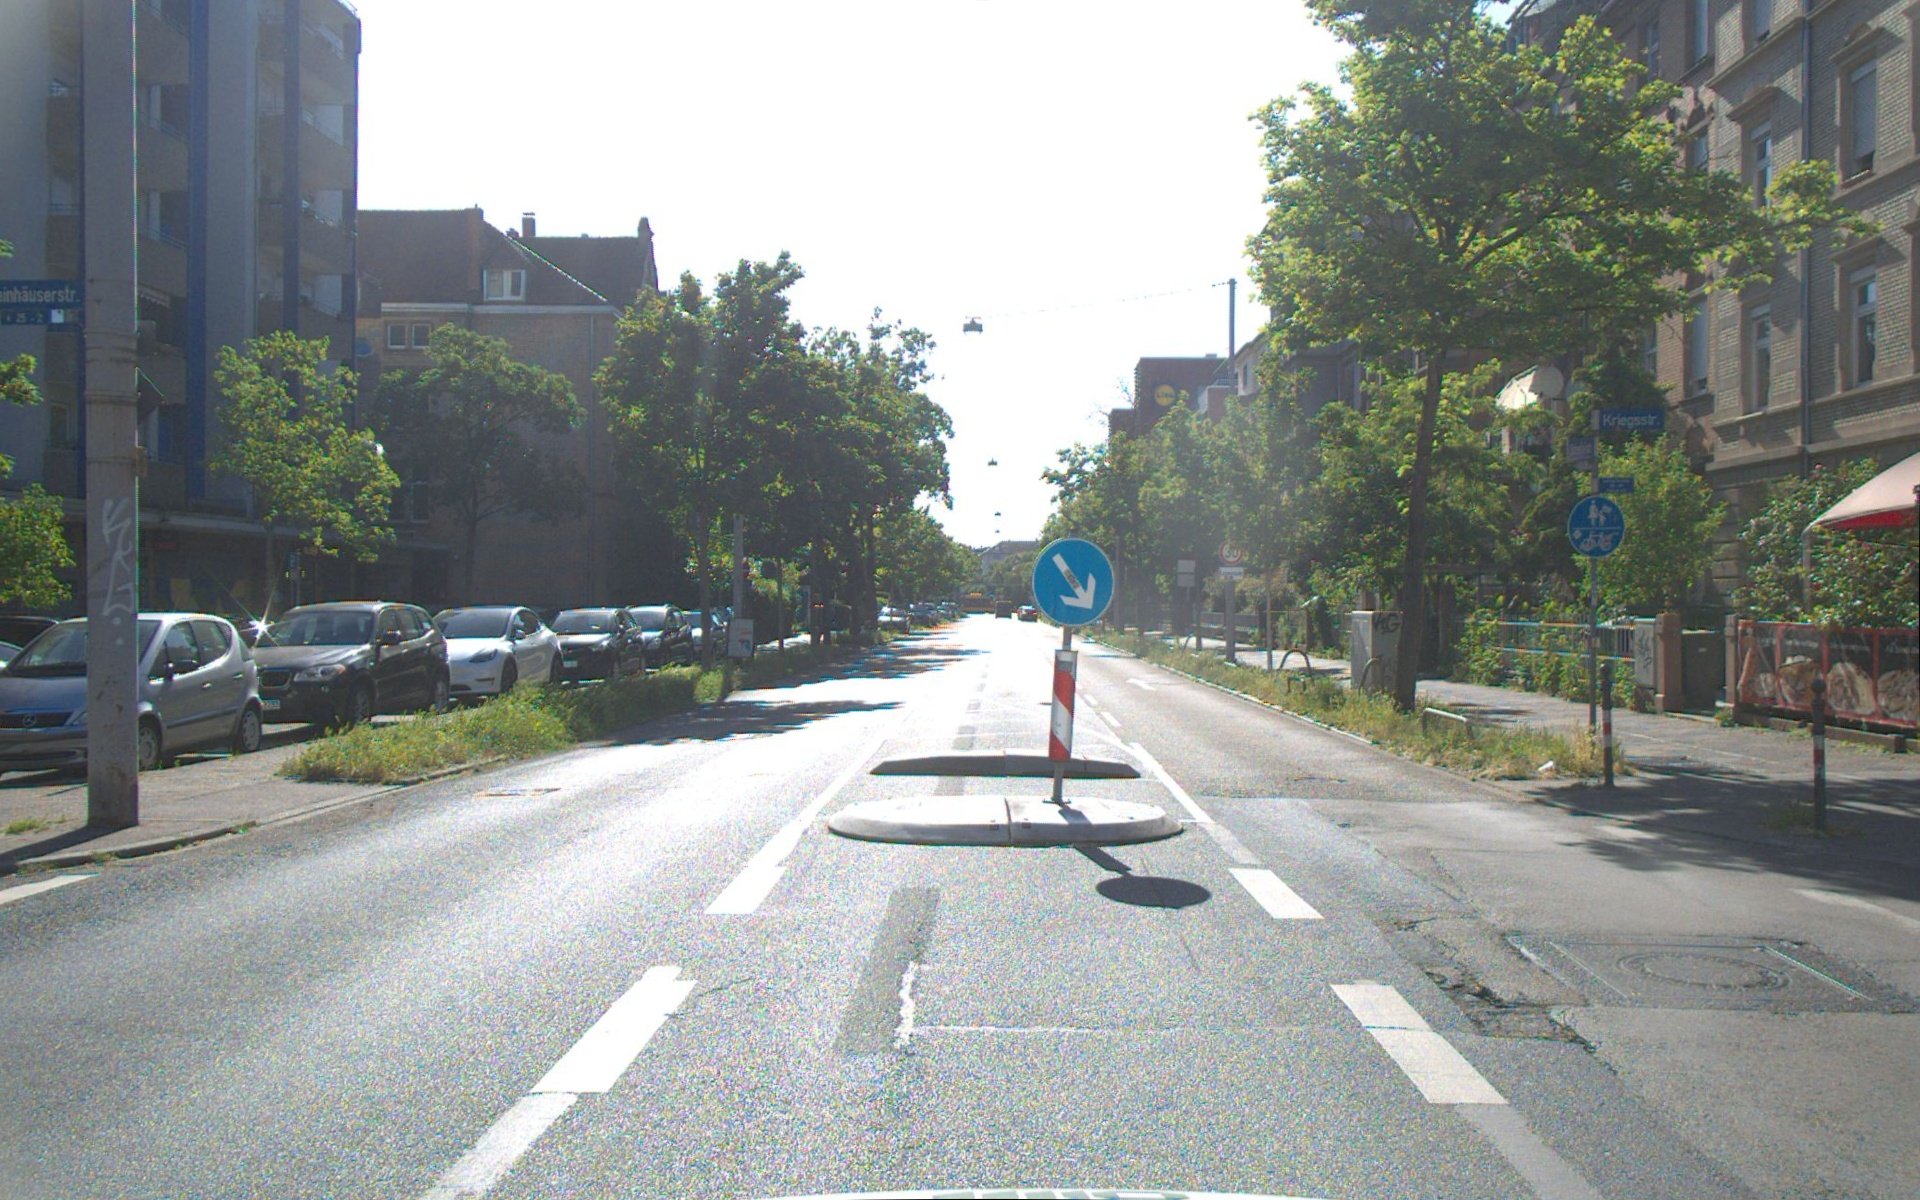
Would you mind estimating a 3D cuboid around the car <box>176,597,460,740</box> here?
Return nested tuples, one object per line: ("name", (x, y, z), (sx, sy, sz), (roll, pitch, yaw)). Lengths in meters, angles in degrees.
("car", (-8.250, 0.812, 21.740), (1.829, 1.656, 4.505), (-1, 0, 2))

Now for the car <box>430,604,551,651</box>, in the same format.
("car", (-16.848, 0.961, 59.484), (3.907, 1.658, 1.687), (0, 0, -2))

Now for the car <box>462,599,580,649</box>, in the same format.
("car", (-16.306, 0.874, 61.547), (3.906, 1.800, 1.885), (0, 0, -2))

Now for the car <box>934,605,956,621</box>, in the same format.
("car", (-1.568, 1.351, 172.784), (1.952, 1.725, 4.002), (-1, 0, 3))

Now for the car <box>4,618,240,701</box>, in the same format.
("car", (-17.208, 1.194, 34.113), (3.907, 1.635, 1.841), (0, 0, -2))

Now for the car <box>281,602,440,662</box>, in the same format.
("car", (-17.034, 0.905, 47.084), (3.907, 1.658, 1.687), (0, 0, -2))

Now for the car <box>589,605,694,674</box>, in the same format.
("car", (-7.754, 0.936, 40.615), (1.715, 1.580, 4.000), (-1, 0, 1))

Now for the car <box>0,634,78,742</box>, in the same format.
("car", (-13.918, 1.215, 21.892), (1.851, 1.422, 4.531), (-1, 0, 3))

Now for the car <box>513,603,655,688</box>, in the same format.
("car", (-7.786, 0.908, 34.618), (1.824, 1.615, 4.002), (-1, 0, 3))

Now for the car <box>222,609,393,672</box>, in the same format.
("car", (-17.492, 1.074, 44.467), (3.907, 1.658, 1.687), (0, 0, -2))

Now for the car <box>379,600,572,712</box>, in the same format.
("car", (-8.149, 0.886, 28.272), (1.849, 1.691, 4.531), (-2, 0, 1))

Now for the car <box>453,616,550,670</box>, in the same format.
("car", (-13.456, 1.228, 48.764), (1.651, 1.495, 4.001), (0, 0, 1))

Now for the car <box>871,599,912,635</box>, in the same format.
("car", (-3.946, 0.954, 96.140), (1.952, 2.049, 4.207), (-1, 0, 4))

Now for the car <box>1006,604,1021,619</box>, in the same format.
("car", (6.204, 1.334, 192.713), (1.721, 1.815, 4.001), (0, 0, 2))

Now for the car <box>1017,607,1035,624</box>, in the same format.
("car", (7.216, 1.686, 180.538), (1.910, 1.738, 4.001), (0, 0, 2))

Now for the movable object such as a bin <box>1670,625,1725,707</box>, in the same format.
("movable object such as a bin", (10.598, 0.940, 23.774), (0.556, 1.153, 0.552), (0, 0, 2))

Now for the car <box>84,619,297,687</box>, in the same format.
("car", (-17.004, 1.156, 36.687), (3.907, 1.449, 1.687), (0, 0, -2))

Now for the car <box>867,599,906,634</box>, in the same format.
("car", (-4.456, 0.967, 100.637), (1.952, 2.049, 4.207), (-1, 0, 3))

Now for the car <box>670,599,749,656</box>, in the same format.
("car", (-7.680, 0.828, 50.987), (1.726, 1.675, 4.000), (0, 0, 1))

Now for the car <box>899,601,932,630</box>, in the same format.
("car", (-3.295, 1.124, 123.026), (2.018, 2.049, 4.631), (-1, 0, 3))

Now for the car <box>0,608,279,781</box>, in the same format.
("car", (-8.458, 0.869, 16.776), (1.684, 1.545, 3.531), (-1, 0, -1))

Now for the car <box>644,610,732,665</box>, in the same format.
("car", (-7.557, 1.017, 46.272), (1.718, 1.422, 4.000), (0, 0, 1))

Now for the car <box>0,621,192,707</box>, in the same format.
("car", (-17.157, 1.213, 31.839), (3.907, 1.578, 1.769), (0, 0, -2))

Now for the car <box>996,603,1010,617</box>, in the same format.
("car", (5.470, 1.241, 210.307), (1.721, 1.815, 4.001), (0, 0, 2))
